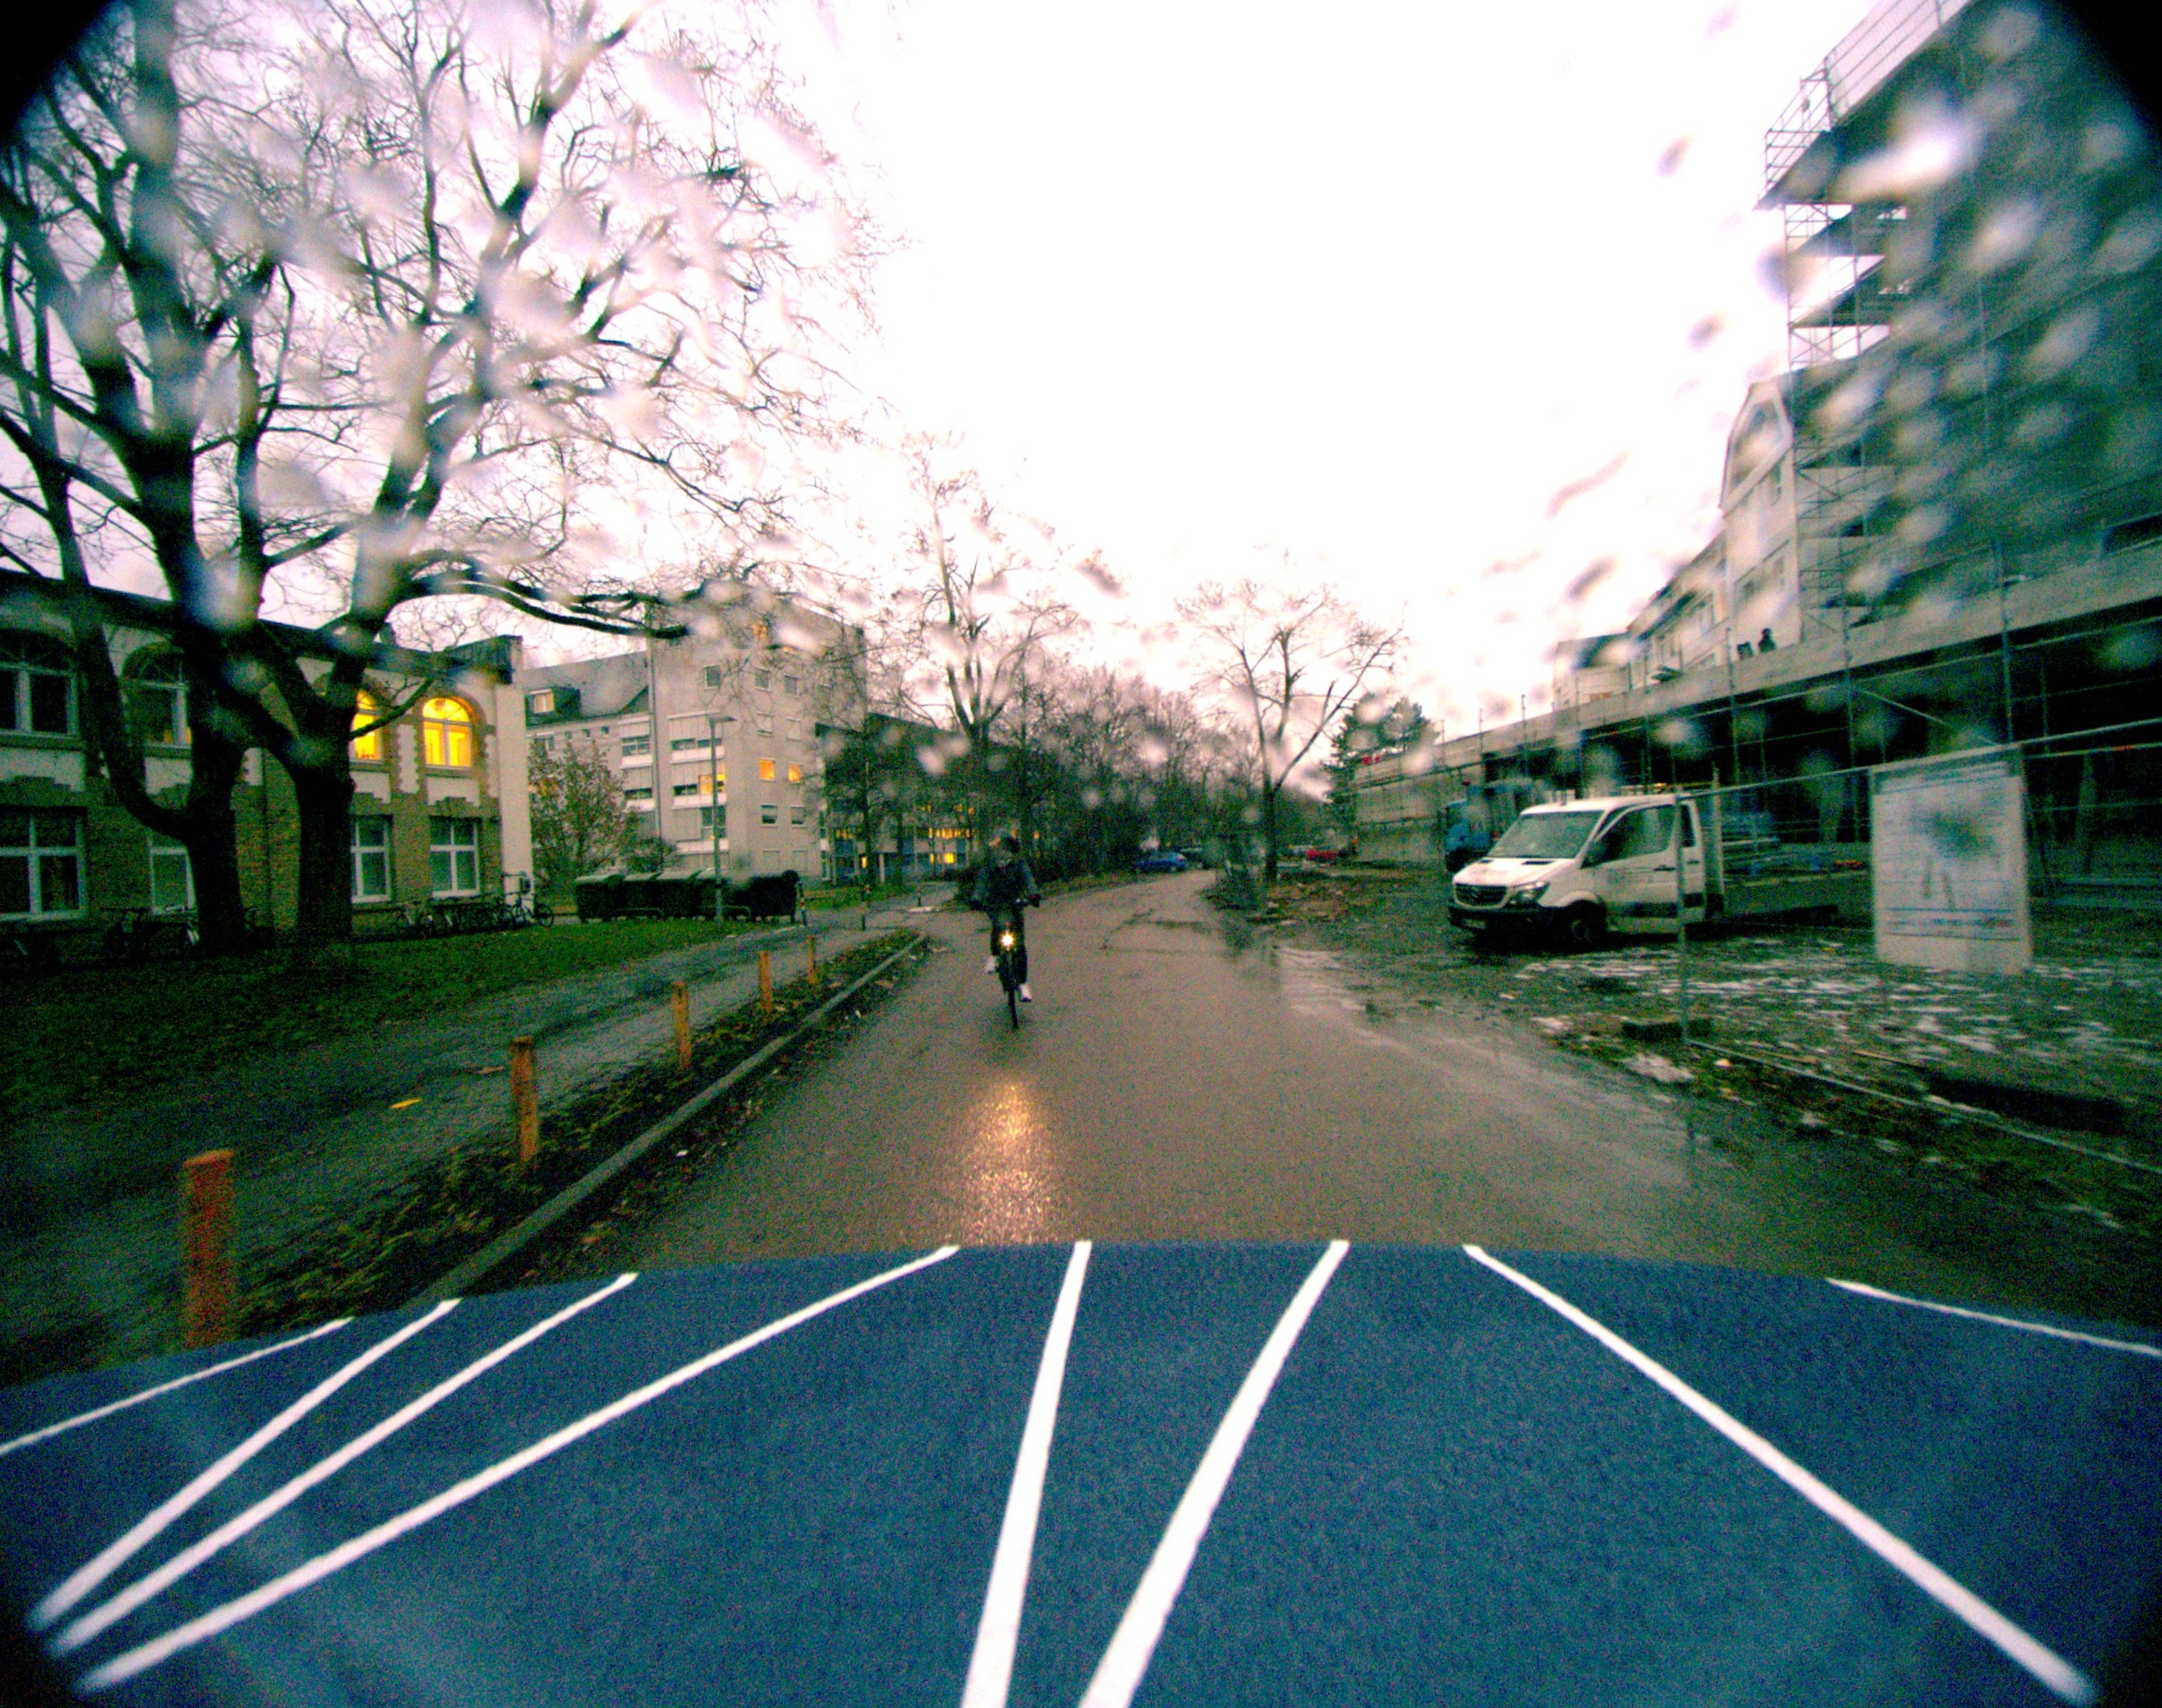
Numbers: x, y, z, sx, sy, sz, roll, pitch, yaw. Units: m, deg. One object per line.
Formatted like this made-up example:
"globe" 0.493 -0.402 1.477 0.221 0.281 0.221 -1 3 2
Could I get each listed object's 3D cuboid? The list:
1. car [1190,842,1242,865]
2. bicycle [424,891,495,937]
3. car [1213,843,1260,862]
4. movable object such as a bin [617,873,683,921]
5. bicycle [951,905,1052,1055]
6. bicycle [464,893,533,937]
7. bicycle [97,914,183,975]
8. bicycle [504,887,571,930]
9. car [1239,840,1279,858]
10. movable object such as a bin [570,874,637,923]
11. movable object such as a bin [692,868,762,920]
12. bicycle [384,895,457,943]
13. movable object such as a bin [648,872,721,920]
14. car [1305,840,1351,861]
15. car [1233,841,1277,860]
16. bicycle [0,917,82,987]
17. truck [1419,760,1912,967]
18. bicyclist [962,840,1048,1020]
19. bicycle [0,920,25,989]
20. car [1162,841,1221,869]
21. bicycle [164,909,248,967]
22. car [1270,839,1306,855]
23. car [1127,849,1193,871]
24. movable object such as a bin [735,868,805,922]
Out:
"car" 11.611 -0.027 65.303 3.990 1.786 1.805 -2 1 26
"bicycle" -16.541 1.584 20.223 2.136 1.150 0.574 -2 1 26
"car" 14.687 -0.148 71.699 3.990 1.652 2.003 -2 1 26
"movable object such as a bin" -12.184 1.200 21.476 1.249 1.272 0.989 -2 1 19
"bicycle" -0.725 1.150 7.512 0.730 1.126 1.894 -2 1 1
"bicycle" -16.253 1.677 21.180 2.136 1.150 0.574 -2 1 26
"bicycle" -18.735 1.765 15.116 2.136 1.086 0.574 -2 1 26
"bicycle" -15.783 1.567 22.040 2.136 1.150 0.574 -2 1 26
"car" 19.897 -0.561 84.893 3.990 1.786 1.805 -2 1 26
"movable object such as a bin" -13.606 1.259 21.690 1.261 1.306 0.989 -2 1 19
"movable object such as a bin" -9.455 1.063 20.331 1.305 1.306 0.989 -2 1 19
"bicycle" -16.870 1.637 19.395 2.136 1.150 0.574 -2 1 26
"movable object such as a bin" -10.904 1.151 20.916 1.435 1.218 0.989 -2 1 19
"car" 19.402 -0.274 59.594 3.302 1.514 1.706 -2 1 22
"car" 17.699 -0.392 77.429 3.990 1.786 1.805 -2 1 26
"bicycle" -19.198 1.763 13.960 2.136 1.150 0.574 -2 1 26
"truck" 9.322 0.037 12.232 7.082 2.573 2.130 -4 1 -12
"bicyclist" -0.730 0.714 7.538 0.706 1.679 0.771 -2 1 1
"bicycle" -19.455 1.761 13.393 2.136 1.150 0.574 -2 1 26
"car" 8.544 0.064 58.812 3.990 1.980 2.003 -2 1 26
"bicycle" -18.383 1.730 15.959 2.136 1.104 0.574 -2 1 26
"car" 25.772 -0.889 94.547 3.990 1.786 1.805 -2 1 26
"car" 5.593 0.439 53.614 4.171 1.469 2.004 -2 -2 22
"movable object such as a bin" -8.108 1.060 19.869 1.322 1.309 1.063 -1 1 6
